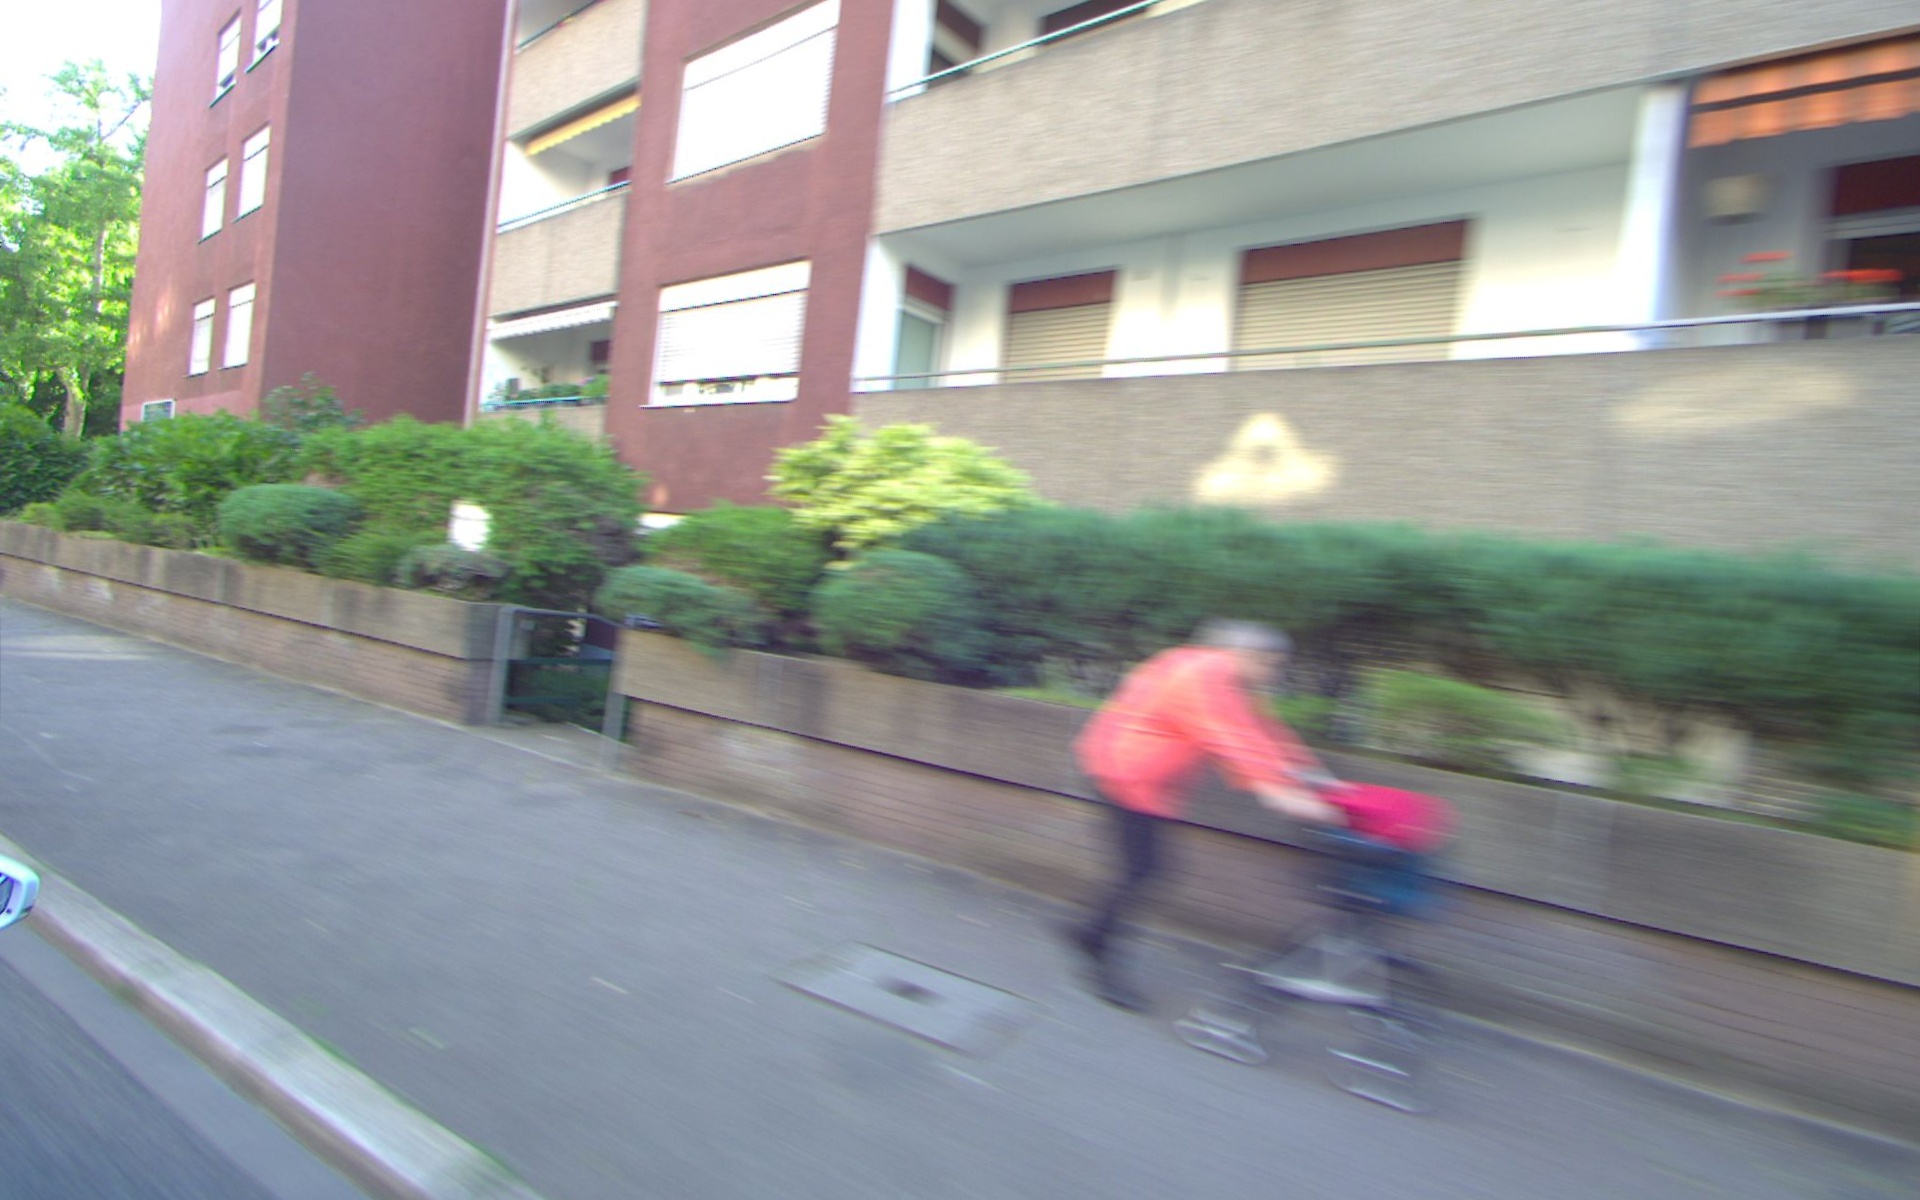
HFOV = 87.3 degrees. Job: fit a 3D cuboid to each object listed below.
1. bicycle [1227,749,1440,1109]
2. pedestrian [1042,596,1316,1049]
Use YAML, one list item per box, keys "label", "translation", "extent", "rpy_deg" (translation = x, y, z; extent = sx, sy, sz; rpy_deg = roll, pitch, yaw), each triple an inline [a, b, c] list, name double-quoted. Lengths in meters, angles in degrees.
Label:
- label: "bicycle"
  translation: [1.283, 1.054, 3.420]
  extent: [0.484, 0.982, 0.567]
  rpy_deg: [8, 1, 28]
- label: "pedestrian"
  translation: [0.819, 0.753, 3.712]
  extent: [0.657, 1.420, 0.598]
  rpy_deg: [8, 1, 30]
